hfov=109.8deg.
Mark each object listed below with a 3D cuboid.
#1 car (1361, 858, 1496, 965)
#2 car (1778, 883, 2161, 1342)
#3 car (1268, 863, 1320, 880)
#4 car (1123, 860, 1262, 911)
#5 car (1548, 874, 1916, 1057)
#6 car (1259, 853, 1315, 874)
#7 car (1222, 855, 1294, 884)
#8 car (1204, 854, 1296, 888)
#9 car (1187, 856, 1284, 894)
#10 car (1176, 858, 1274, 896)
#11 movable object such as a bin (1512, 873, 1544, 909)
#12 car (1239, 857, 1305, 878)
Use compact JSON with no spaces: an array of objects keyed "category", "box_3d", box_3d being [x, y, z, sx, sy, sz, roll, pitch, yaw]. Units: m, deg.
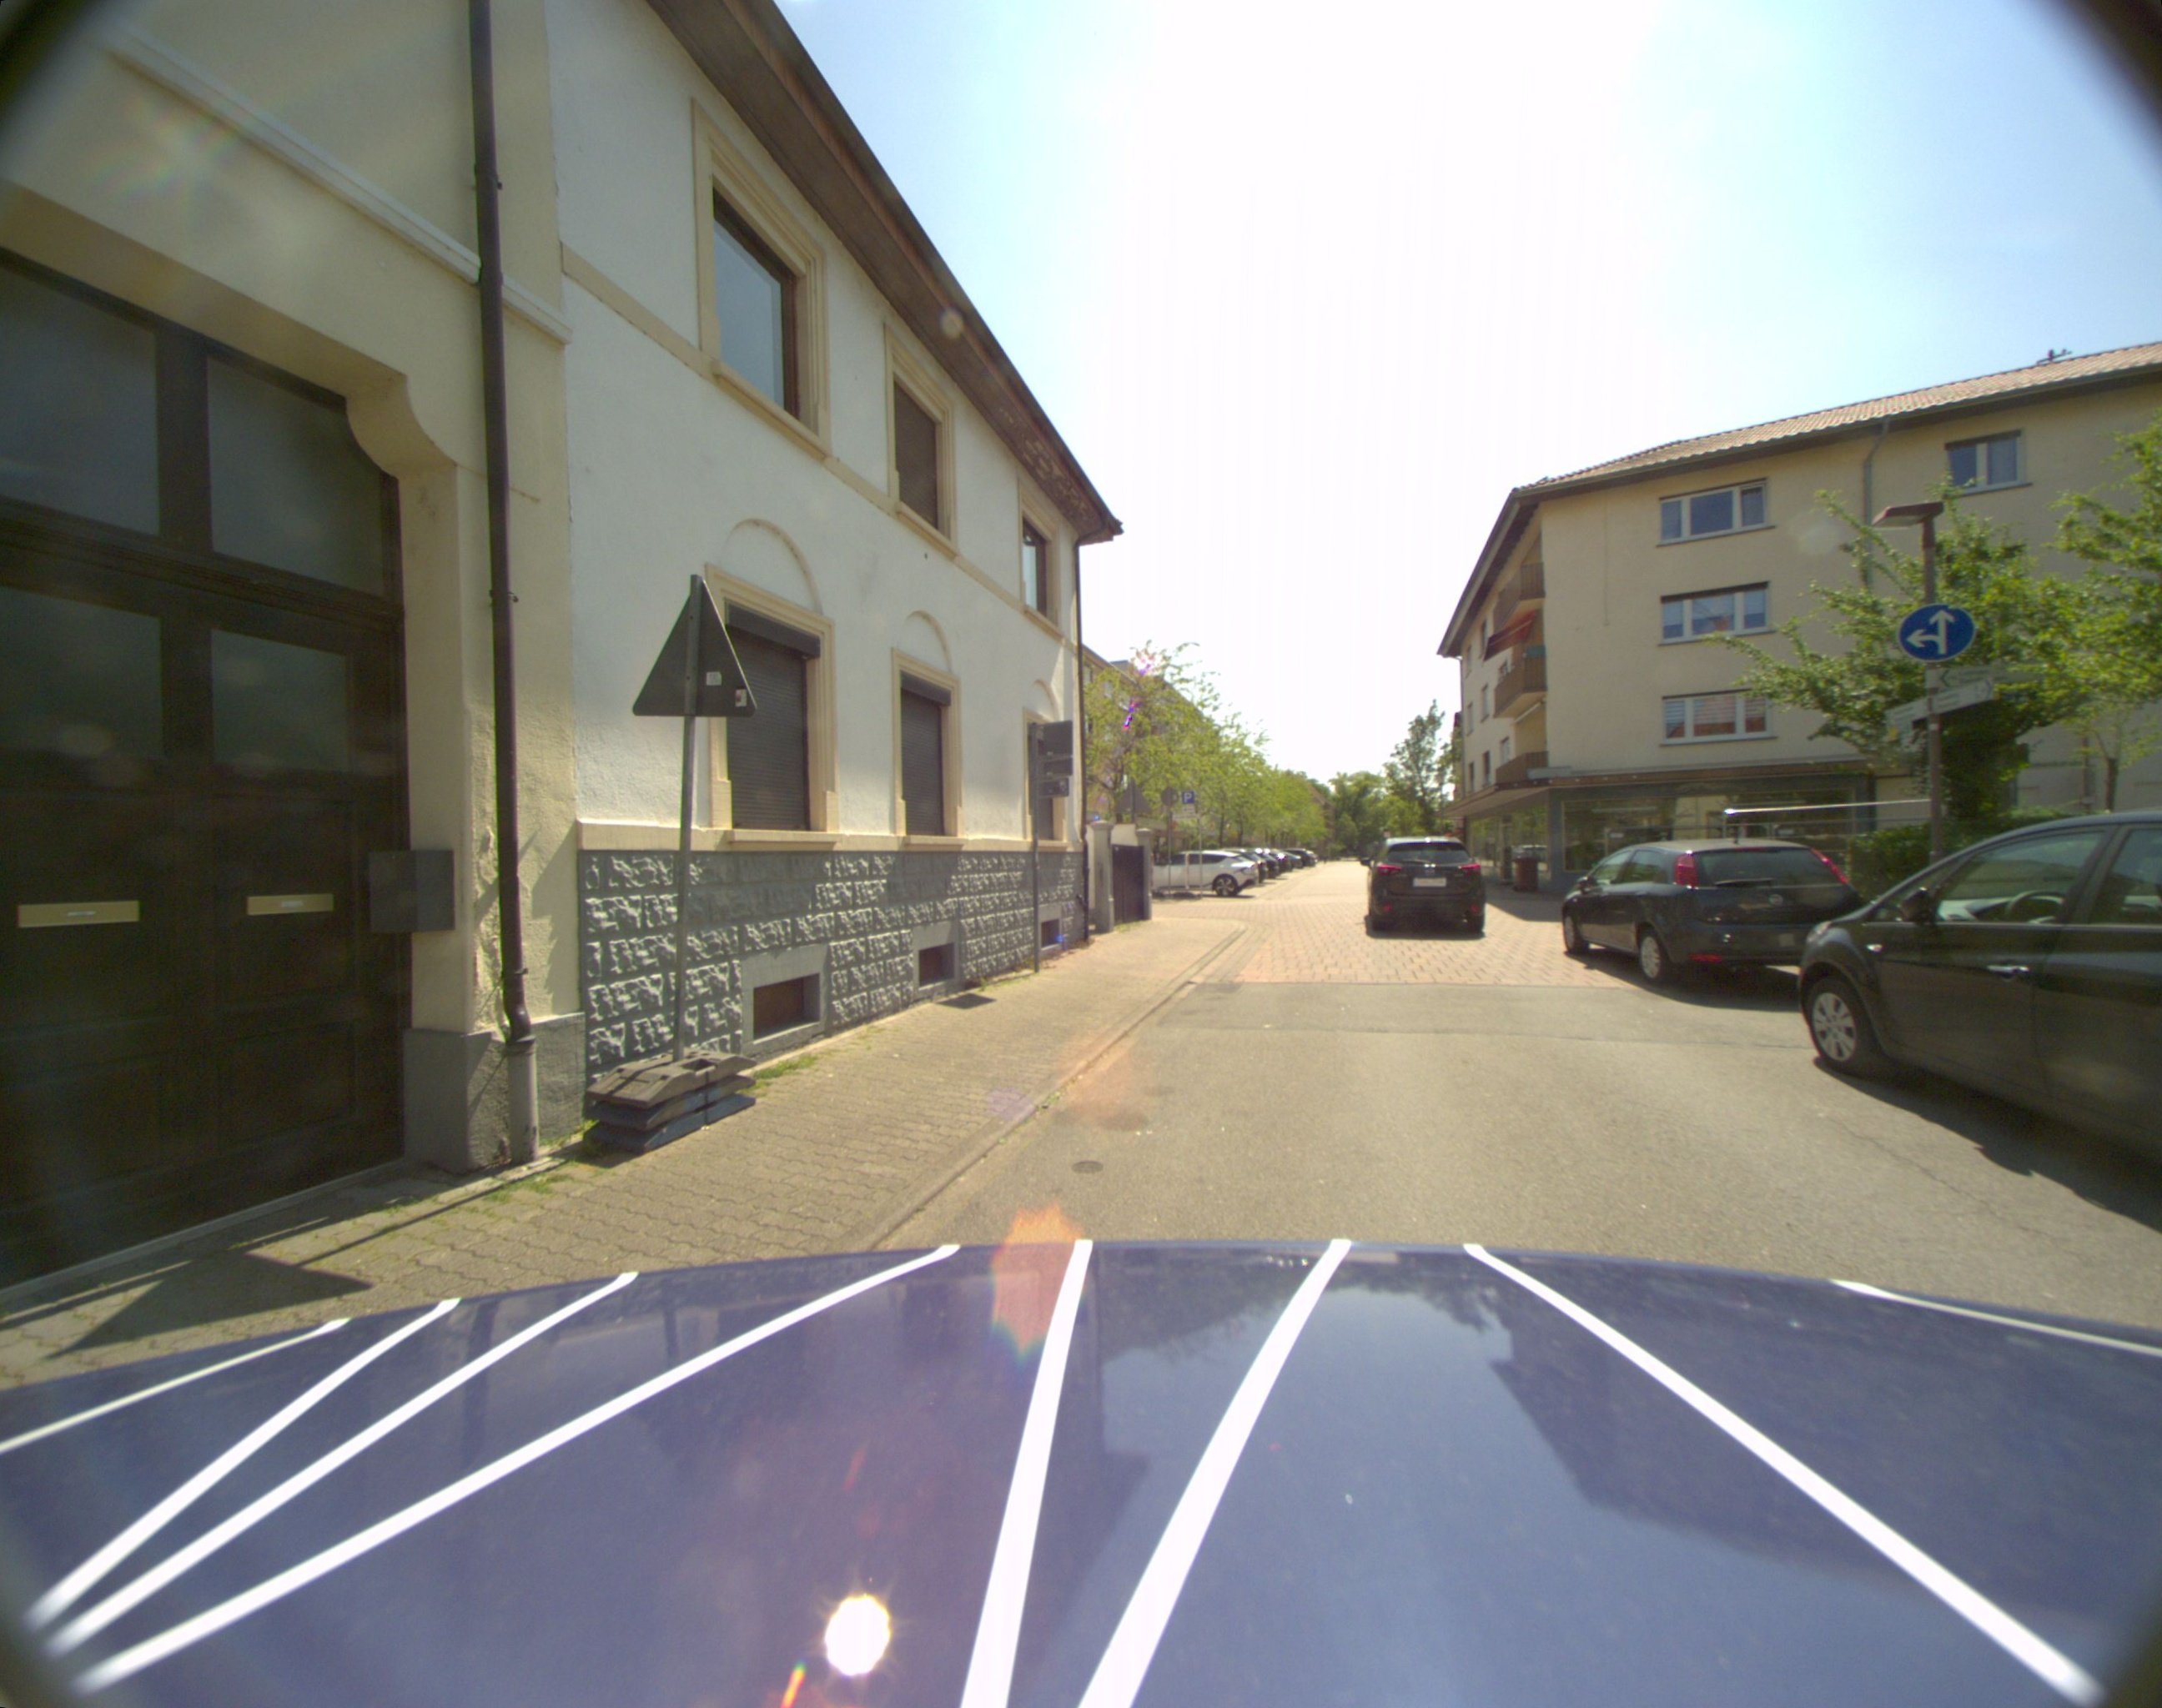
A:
[{"category":"car","box_3d":[6.405,0.939,14.451,1.883,1.658,4.159,0,1,18]},{"category":"car","box_3d":[5.087,0.990,3.173,1.817,1.595,4.030,-1,0,20]},{"category":"car","box_3d":[20.273,1.652,72.170,4.579,1.534,1.809,-1,-1,21]},{"category":"car","box_3d":[3.868,1.042,26.282,4.444,1.567,1.791,1,0,20]},{"category":"car","box_3d":[6.892,1.019,8.631,1.704,1.488,3.862,-1,0,16]},{"category":"car","box_3d":[16.574,0.776,61.171,4.248,1.608,1.759,1,0,19]},{"category":"car","box_3d":[10.584,0.901,45.381,4.031,1.603,1.683,1,1,19]},{"category":"car","box_3d":[9.070,0.892,40.790,4.511,1.579,1.853,2,1,23]},{"category":"car","box_3d":[7.323,0.942,35.939,4.283,1.671,2.003,0,0,18]},{"category":"car","box_3d":[6.327,0.968,33.342,3.948,1.525,1.826,1,1,19]},{"category":"movable object such as a bin","box_3d":[13.609,1.120,23.161,0.656,1.064,0.664,-2,0,13]},{"category":"car","box_3d":[13.975,0.965,55.813,4.383,1.455,1.891,1,0,2]}]
